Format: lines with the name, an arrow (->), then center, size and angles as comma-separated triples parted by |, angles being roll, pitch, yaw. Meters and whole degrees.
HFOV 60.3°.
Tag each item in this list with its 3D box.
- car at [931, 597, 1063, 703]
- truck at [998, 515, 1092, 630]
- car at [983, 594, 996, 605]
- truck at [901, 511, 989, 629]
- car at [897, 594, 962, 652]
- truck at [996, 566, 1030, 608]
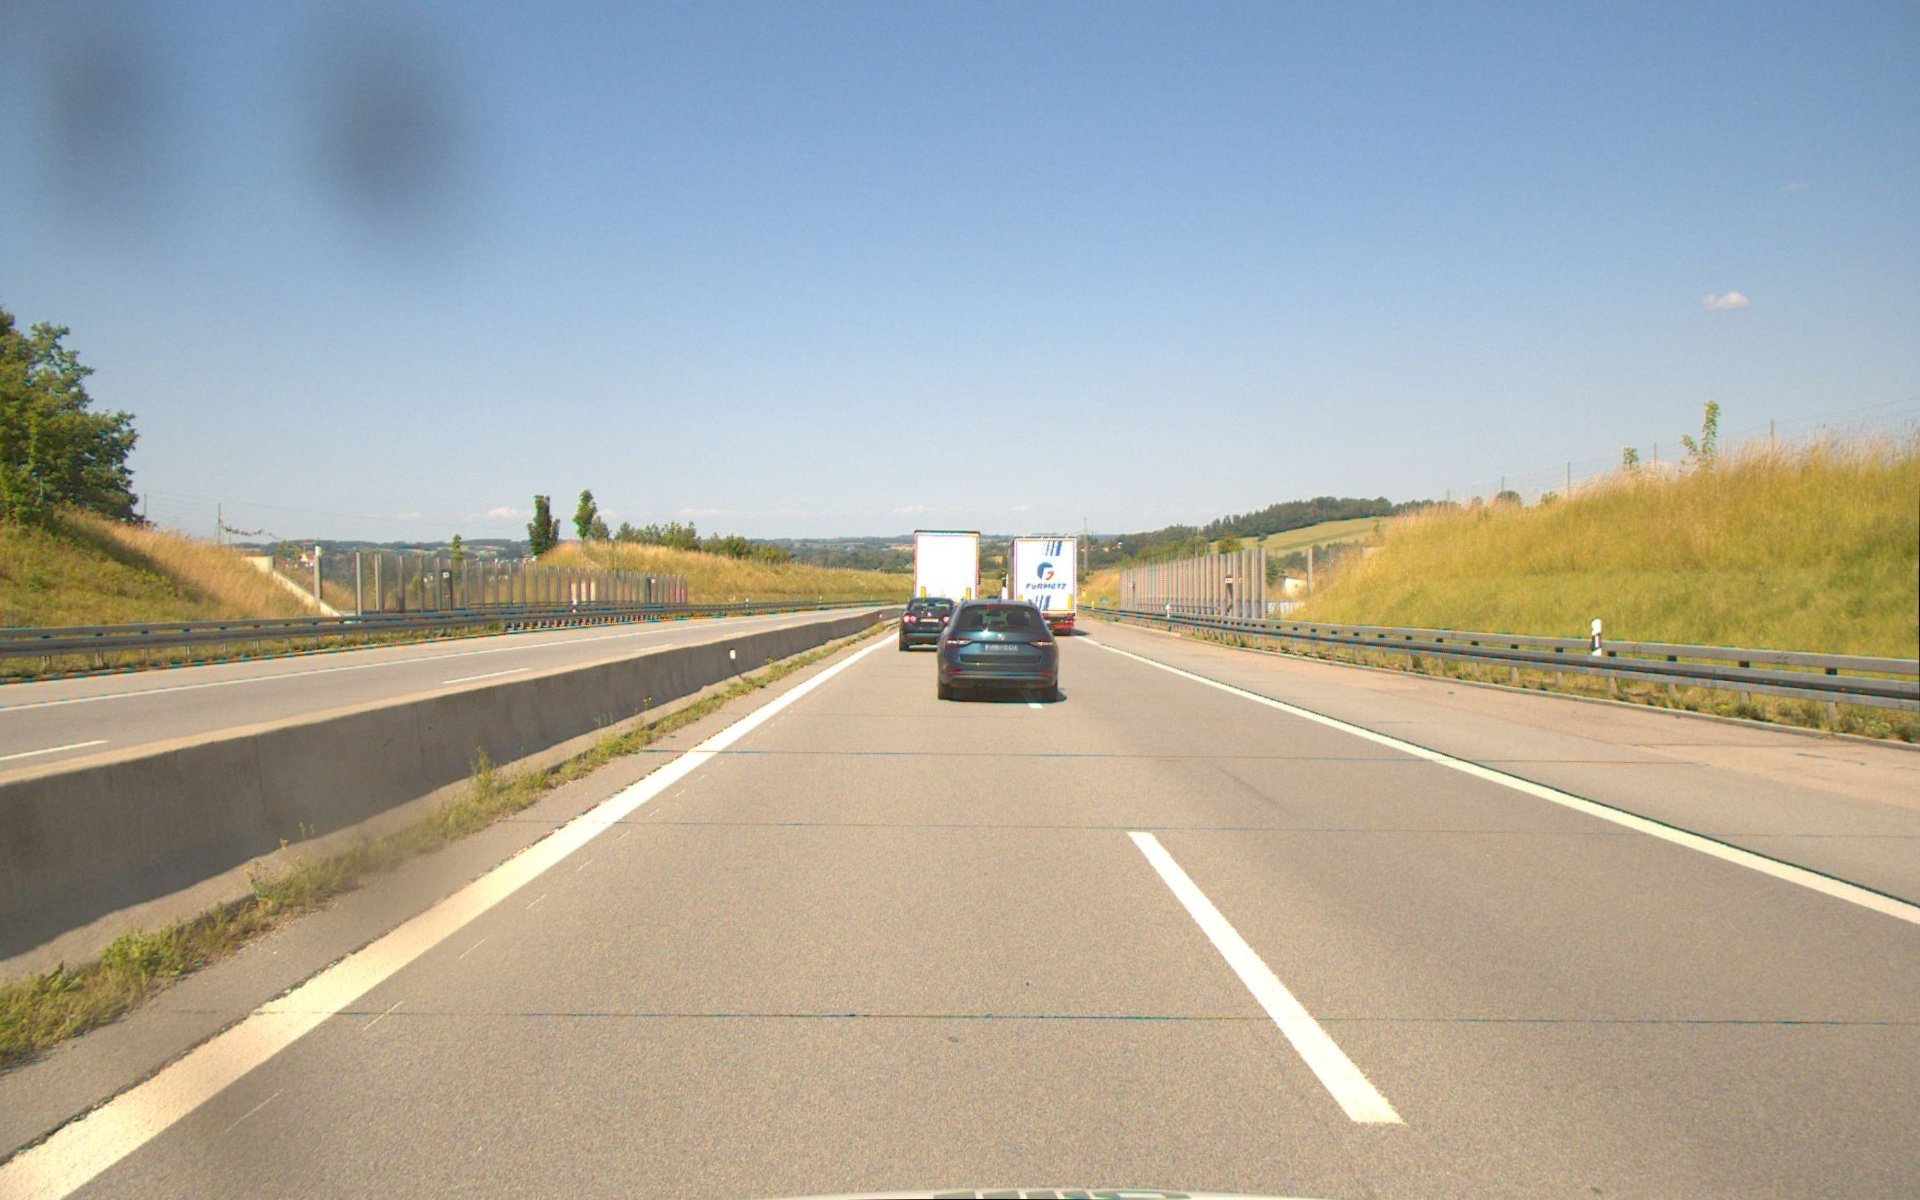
car -> 0.485, 0.697, 24.922 | 1.741, 1.466, 3.787 | 0, 0, -3
truck -> 3.523, -1.118, 71.540 | 3.530, 4.457, 11.235 | -2, 0, 1
car -> 4.029, -0.029, 223.205 | 1.665, 1.466, 4.000 | 0, 0, 0
truck -> -0.481, -1.192, 69.584 | 3.144, 4.457, 11.235 | -2, 0, 1
car -> -0.892, 0.597, 46.002 | 1.666, 1.466, 3.998 | -2, 0, -3
truck -> 5.978, -1.474, 187.423 | 3.530, 4.457, 11.235 | -2, 0, 1
